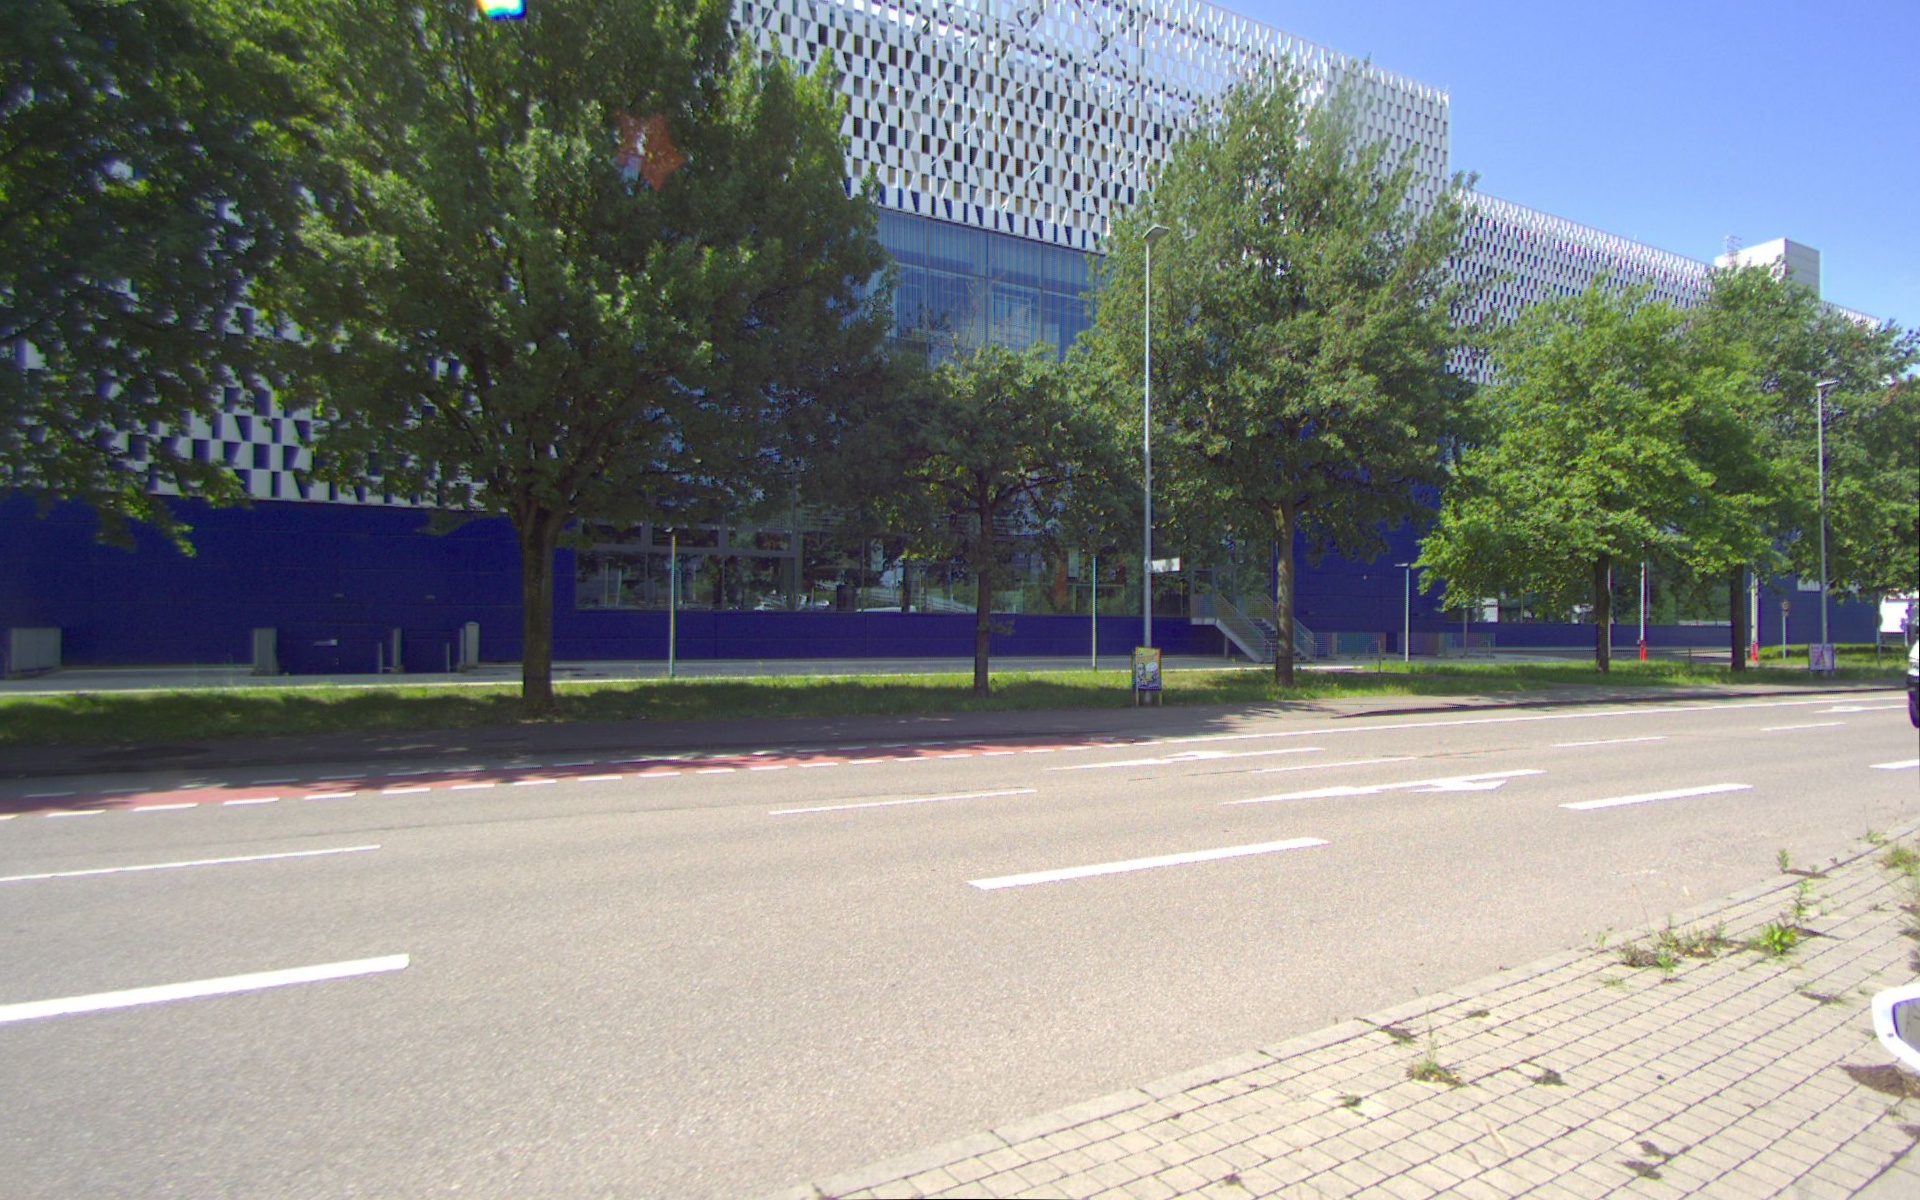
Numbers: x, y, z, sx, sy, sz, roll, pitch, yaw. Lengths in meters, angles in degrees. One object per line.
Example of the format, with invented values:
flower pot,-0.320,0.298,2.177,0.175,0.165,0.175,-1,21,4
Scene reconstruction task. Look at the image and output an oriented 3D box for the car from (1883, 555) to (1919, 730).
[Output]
car,19.044,0.772,18.037,6.310,2.931,2.012,1,-2,-32
